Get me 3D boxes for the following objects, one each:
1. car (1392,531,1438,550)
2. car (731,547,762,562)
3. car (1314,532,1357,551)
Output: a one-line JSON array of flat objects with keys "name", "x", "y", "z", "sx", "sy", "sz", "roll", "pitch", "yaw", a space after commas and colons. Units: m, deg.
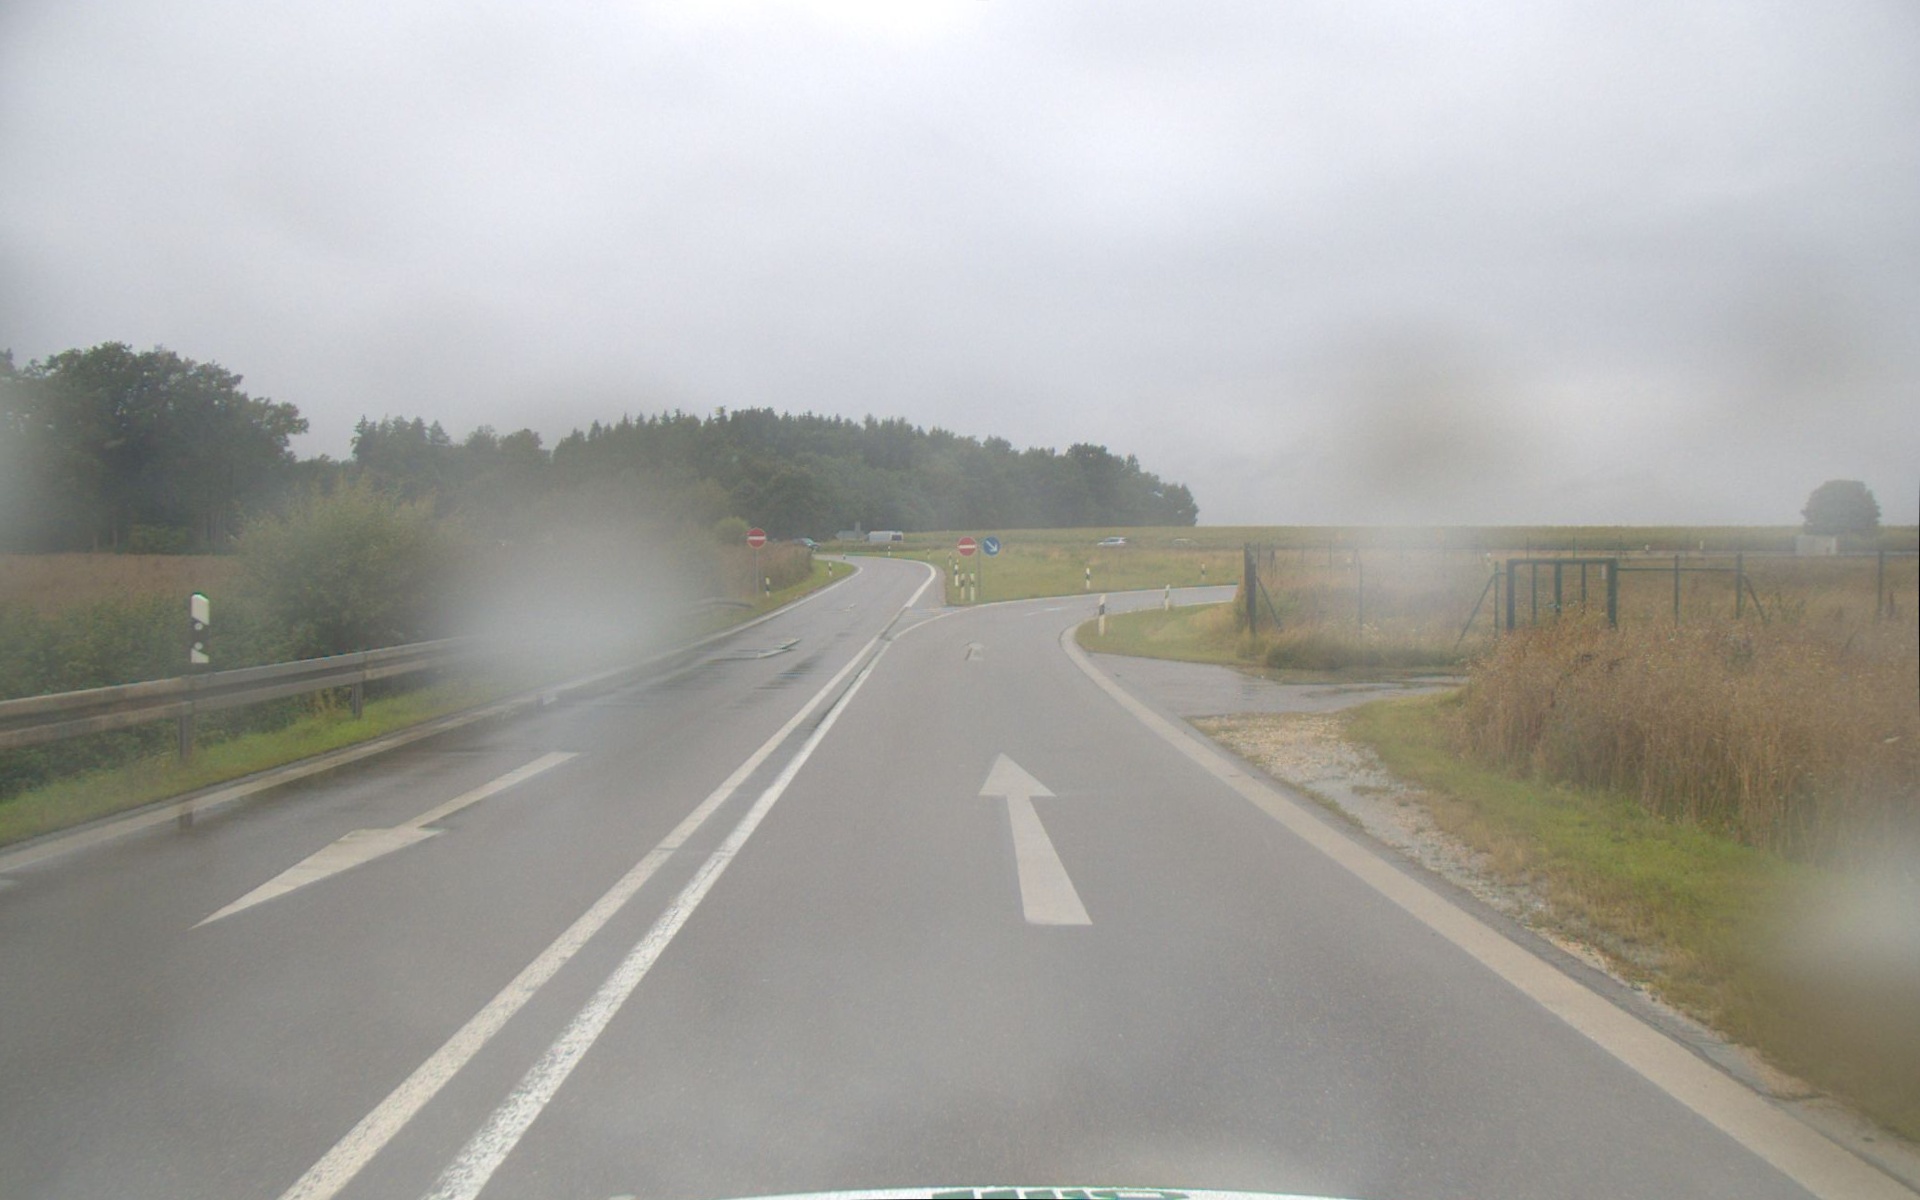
[{"name": "car", "x": 43.381, "y": -5.654, "z": 157.796, "sx": 1.722, "sy": 1.766, "sz": 3.937, "roll": -4, "pitch": 3, "yaw": -43}, {"name": "car", "x": -26.040, "y": -5.562, "z": 201.574, "sx": 1.857, "sy": 1.766, "sz": 3.937, "roll": -4, "pitch": 3, "yaw": -43}, {"name": "car", "x": 37.034, "y": -5.746, "z": 163.125, "sx": 1.722, "sy": 1.766, "sz": 3.937, "roll": -4, "pitch": 3, "yaw": -43}]
